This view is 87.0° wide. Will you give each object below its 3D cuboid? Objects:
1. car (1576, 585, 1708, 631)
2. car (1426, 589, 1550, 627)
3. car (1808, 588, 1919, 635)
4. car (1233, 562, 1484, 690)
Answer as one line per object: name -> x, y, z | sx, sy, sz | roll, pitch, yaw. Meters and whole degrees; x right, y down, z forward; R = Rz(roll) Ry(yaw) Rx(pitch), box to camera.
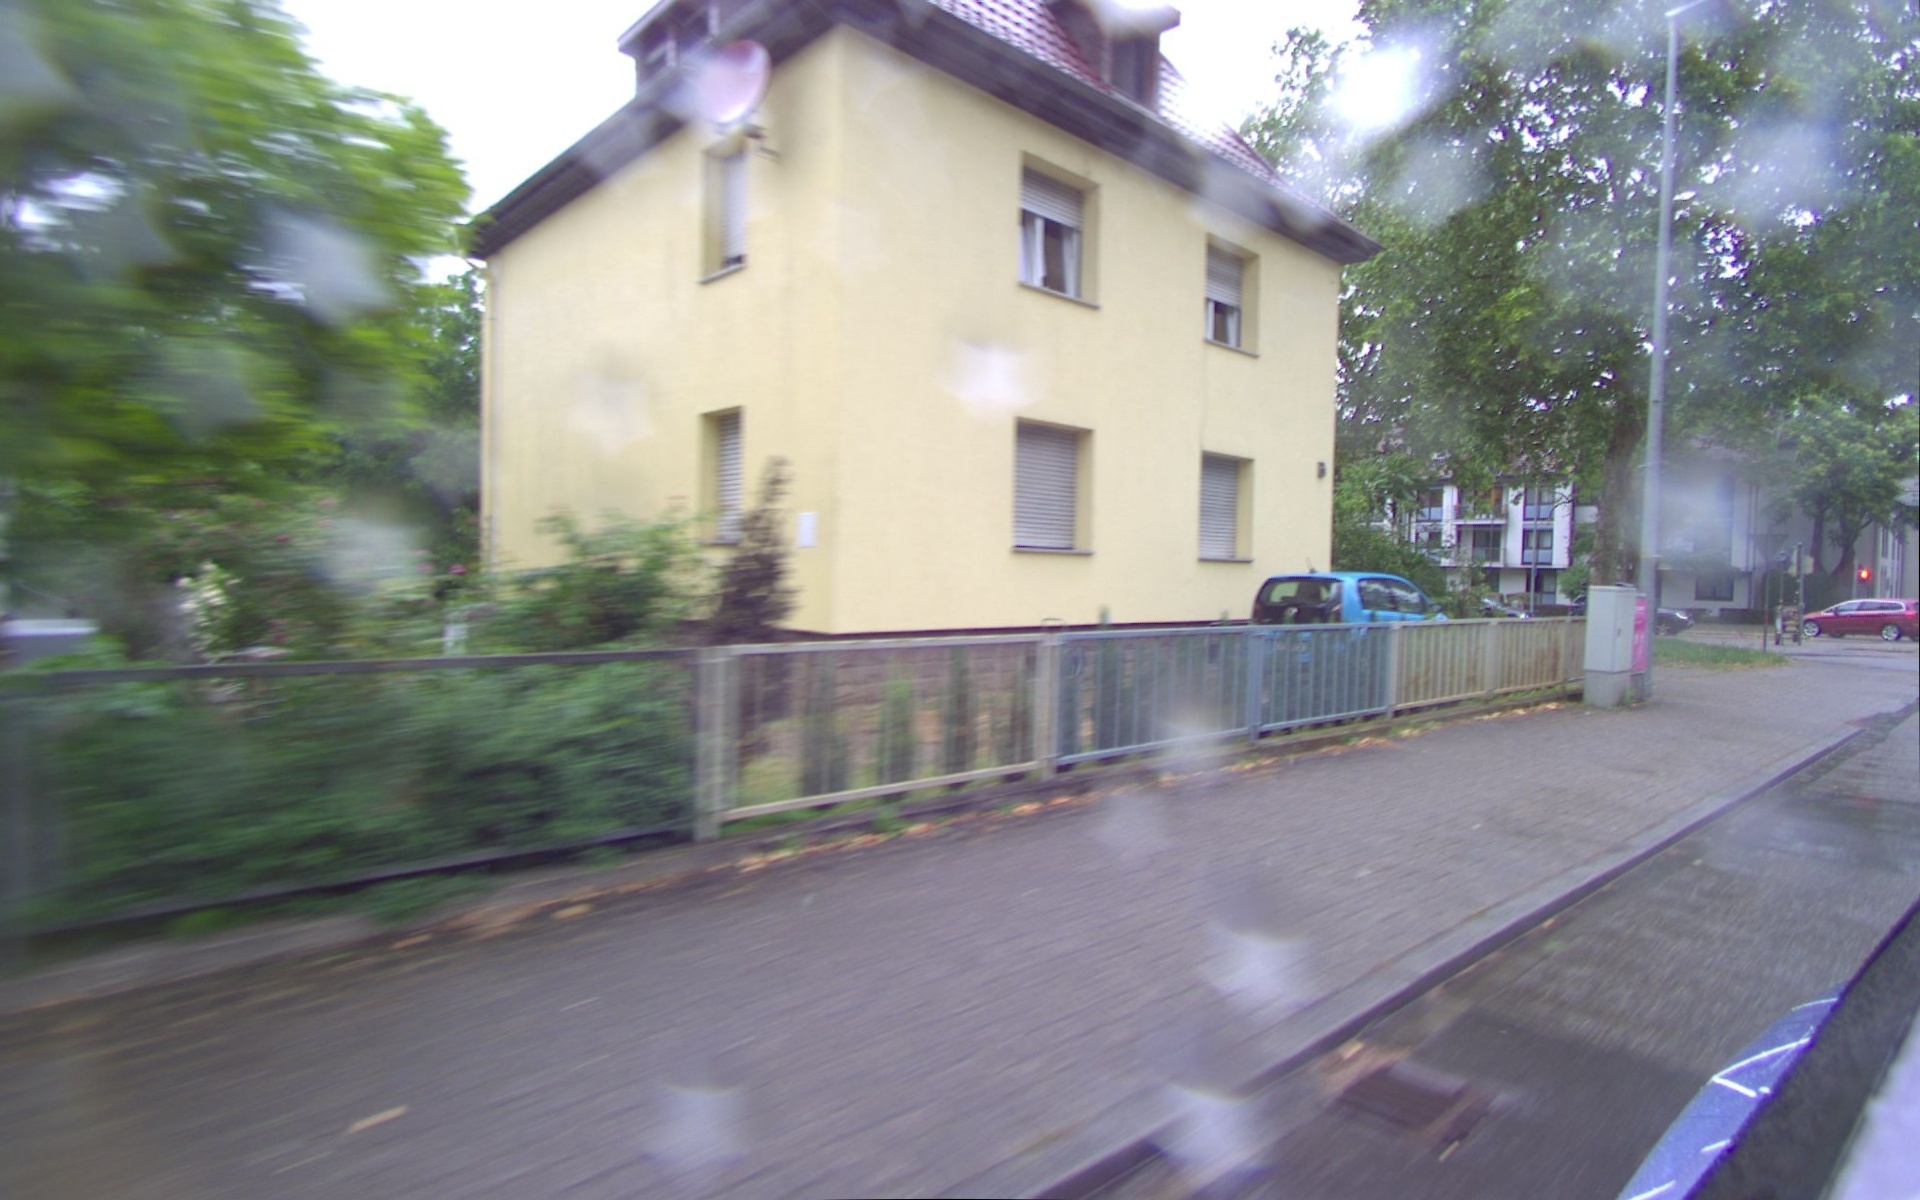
car -> 27.501, 0.278, 40.901 | 4.215, 1.708, 1.683 | 2, 2, 44
car -> 23.353, 0.305, 44.899 | 4.610, 1.463, 1.586 | 2, 4, 44
car -> 35.835, 0.431, 39.263 | 1.757, 1.629, 4.103 | 1, 2, -20
car -> 5.391, 0.275, 13.539 | 3.463, 1.489, 1.673 | 0, 2, -40
